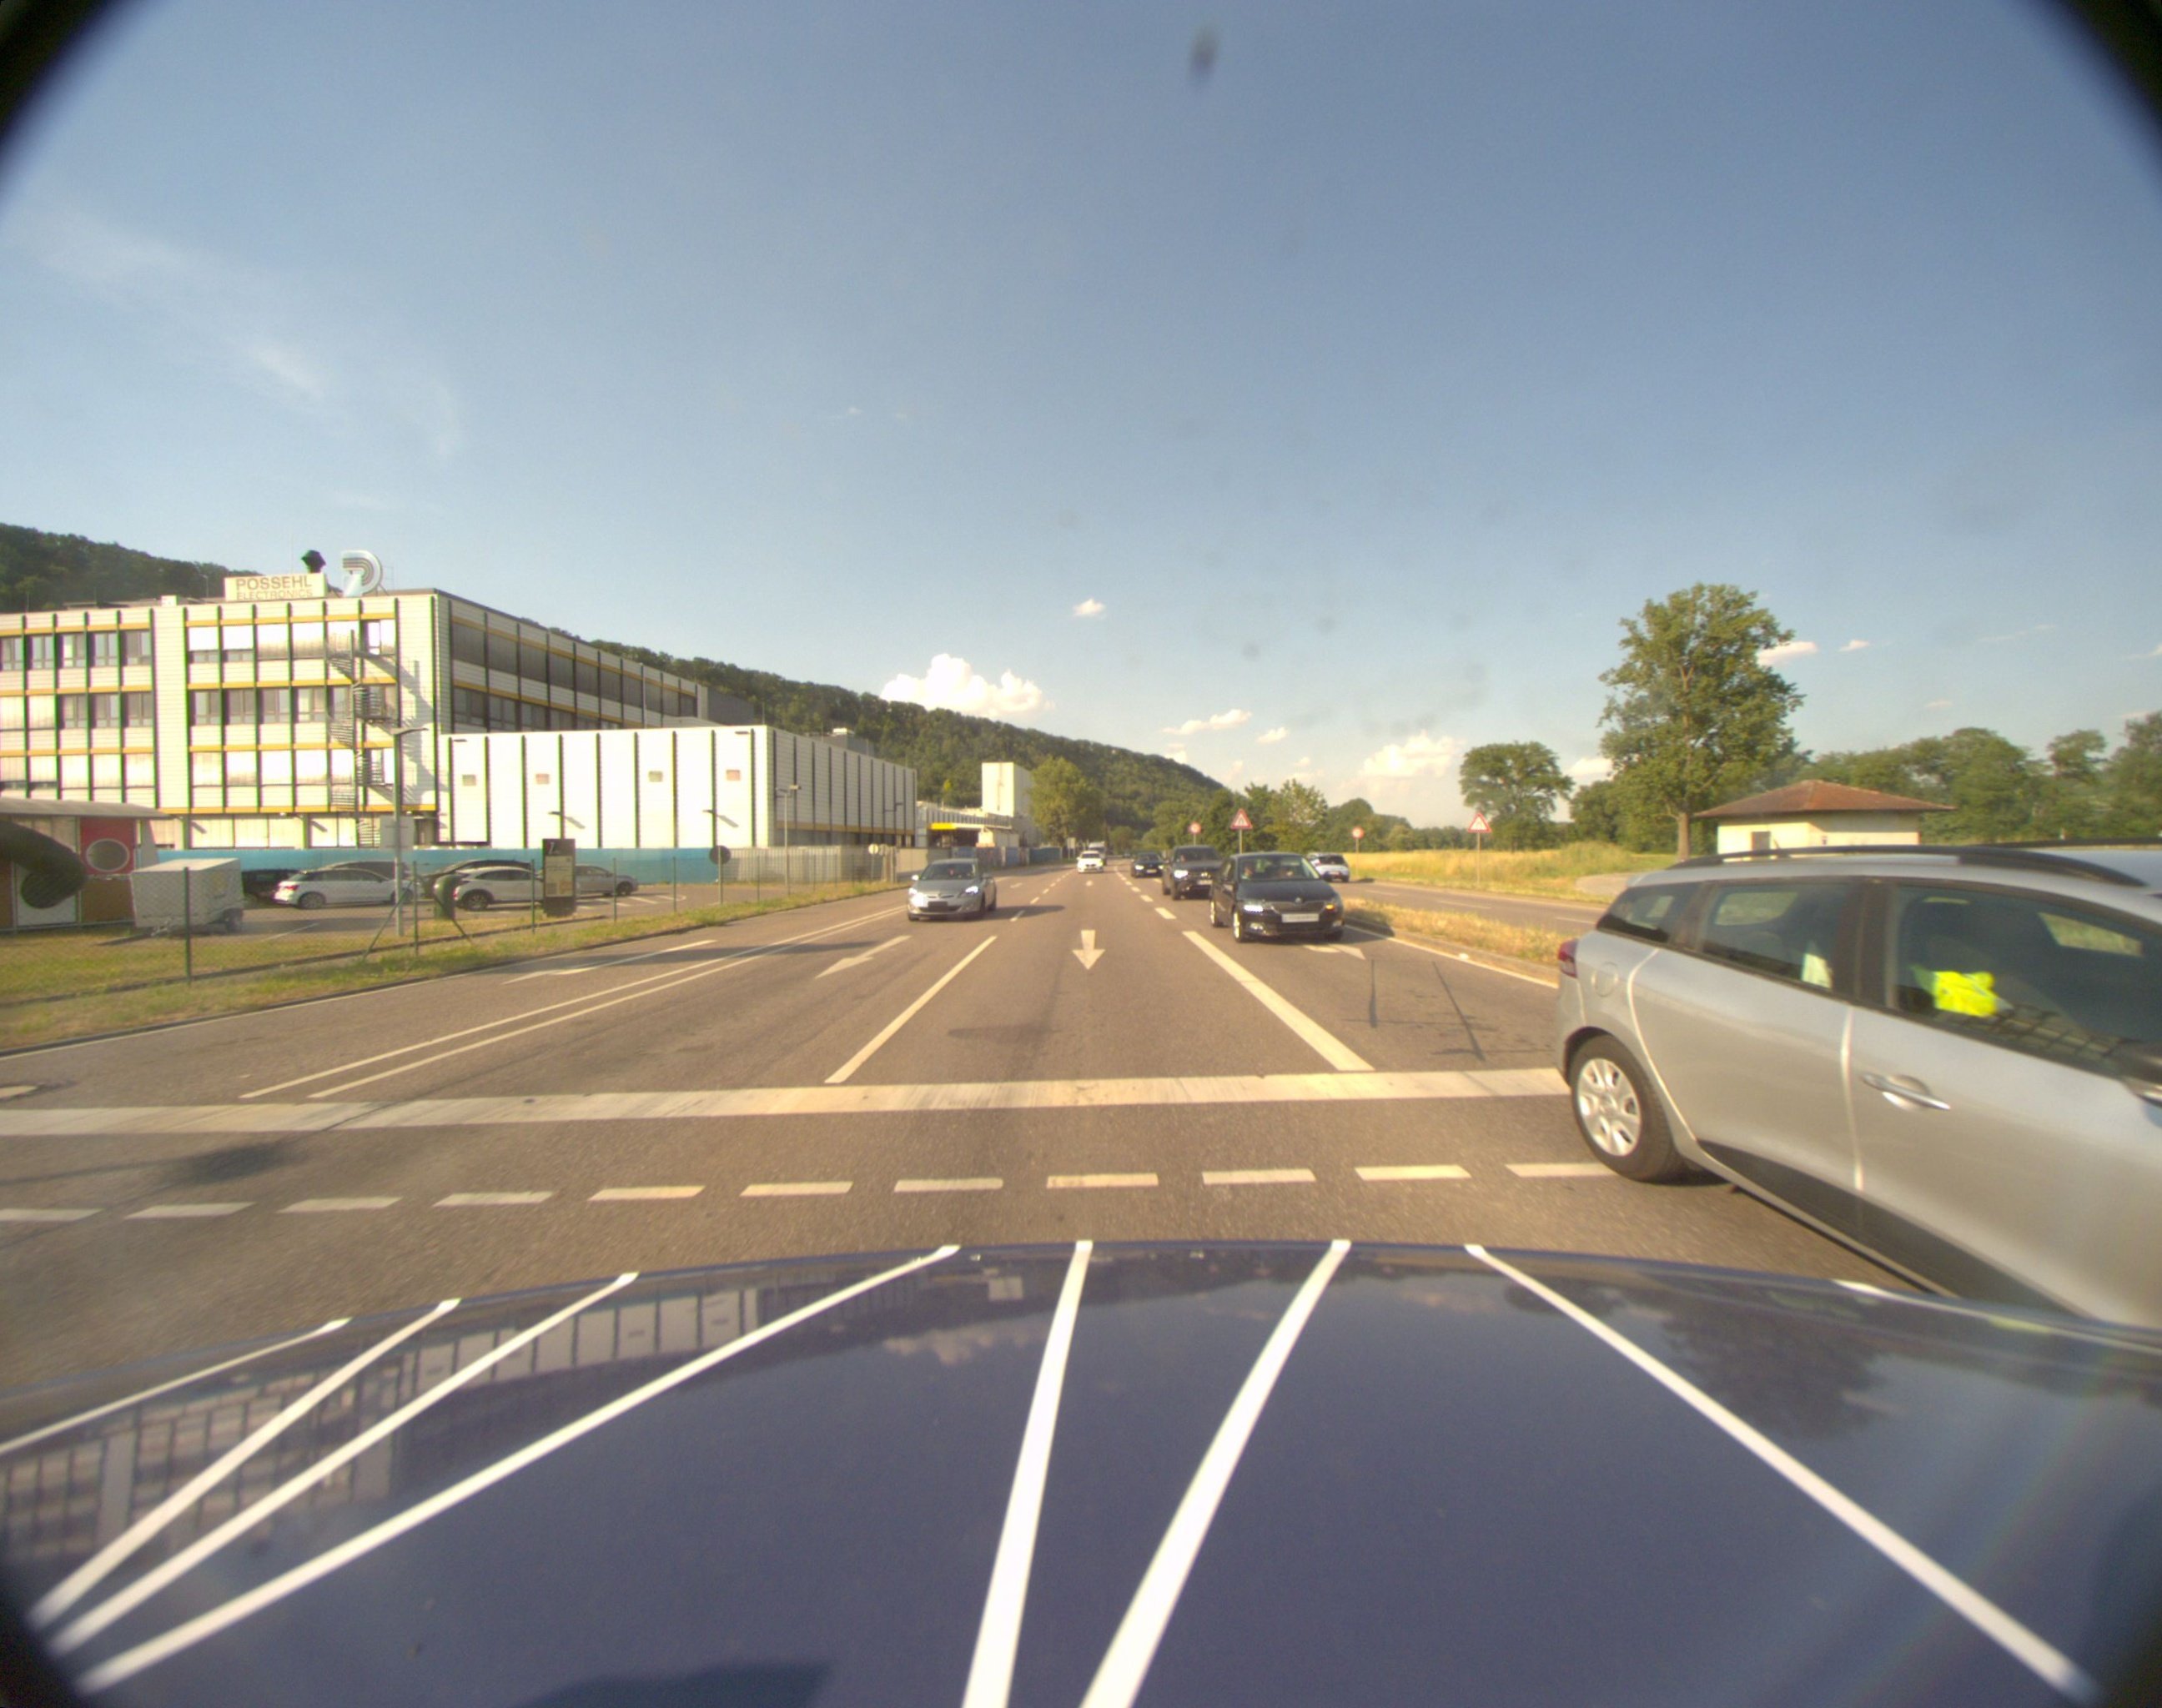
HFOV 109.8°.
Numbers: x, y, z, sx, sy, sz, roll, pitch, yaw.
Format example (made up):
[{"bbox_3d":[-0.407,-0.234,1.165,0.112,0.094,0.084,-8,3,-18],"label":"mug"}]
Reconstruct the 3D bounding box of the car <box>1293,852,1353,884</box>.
[{"bbox_3d":[12.139,0.671,38.357,1.712,1.426,4.144,1,1,1],"label":"car"}]

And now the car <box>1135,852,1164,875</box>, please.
[{"bbox_3d":[4.072,0.536,45.151,1.642,1.285,3.885,0,1,5],"label":"car"}]

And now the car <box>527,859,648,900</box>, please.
[{"bbox_3d":[-21.272,1.072,32.898,1.872,1.496,3.914,-2,1,34],"label":"car"}]

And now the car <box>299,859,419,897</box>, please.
[{"bbox_3d":[-31.702,1.044,33.445,1.693,1.447,3.434,-2,1,32],"label":"car"}]

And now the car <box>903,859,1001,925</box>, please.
[{"bbox_3d":[-3.124,0.886,19.133,1.690,1.383,3.883,-1,1,1],"label":"car"}]

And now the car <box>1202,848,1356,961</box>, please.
[{"bbox_3d":[3.219,0.733,13.126,1.617,1.565,3.999,-2,1,1],"label":"car"}]

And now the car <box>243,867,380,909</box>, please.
[{"bbox_3d":[-29.398,1.263,29.132,1.453,1.380,3.387,-2,1,32],"label":"car"}]

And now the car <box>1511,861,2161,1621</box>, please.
[{"bbox_3d":[3.063,0.802,1.772,1.761,1.468,4.189,-2,0,1],"label":"car"}]

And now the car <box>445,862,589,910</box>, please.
[{"bbox_3d":[-21.095,1.166,28.549,1.872,1.496,3.914,-2,1,36],"label":"car"}]

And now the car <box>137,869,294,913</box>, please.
[{"bbox_3d":[-33.025,1.379,29.095,1.791,1.407,3.677,-2,1,32],"label":"car"}]

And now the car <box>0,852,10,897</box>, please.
[{"bbox_3d":[-55.630,1.132,36.019,2.007,2.218,5.173,-2,1,19],"label":"car"}]

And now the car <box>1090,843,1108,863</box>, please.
[{"bbox_3d":[1.974,-0.132,84.636,1.795,2.155,4.588,-1,1,-2],"label":"car"}]

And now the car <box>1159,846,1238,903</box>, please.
[{"bbox_3d":[3.615,0.568,24.037,1.858,1.565,4.144,-2,1,1],"label":"car"}]

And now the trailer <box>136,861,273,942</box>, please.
[{"bbox_3d":[-22.906,1.169,20.004,1.351,1.936,3.472,0,-1,-31],"label":"trailer"}]

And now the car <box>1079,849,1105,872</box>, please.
[{"bbox_3d":[0.818,0.470,55.836,1.825,1.551,3.999,-2,1,1],"label":"car"}]

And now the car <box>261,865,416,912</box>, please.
[{"bbox_3d":[-27.497,1.233,28.255,1.693,1.447,3.782,-2,1,32],"label":"car"}]
